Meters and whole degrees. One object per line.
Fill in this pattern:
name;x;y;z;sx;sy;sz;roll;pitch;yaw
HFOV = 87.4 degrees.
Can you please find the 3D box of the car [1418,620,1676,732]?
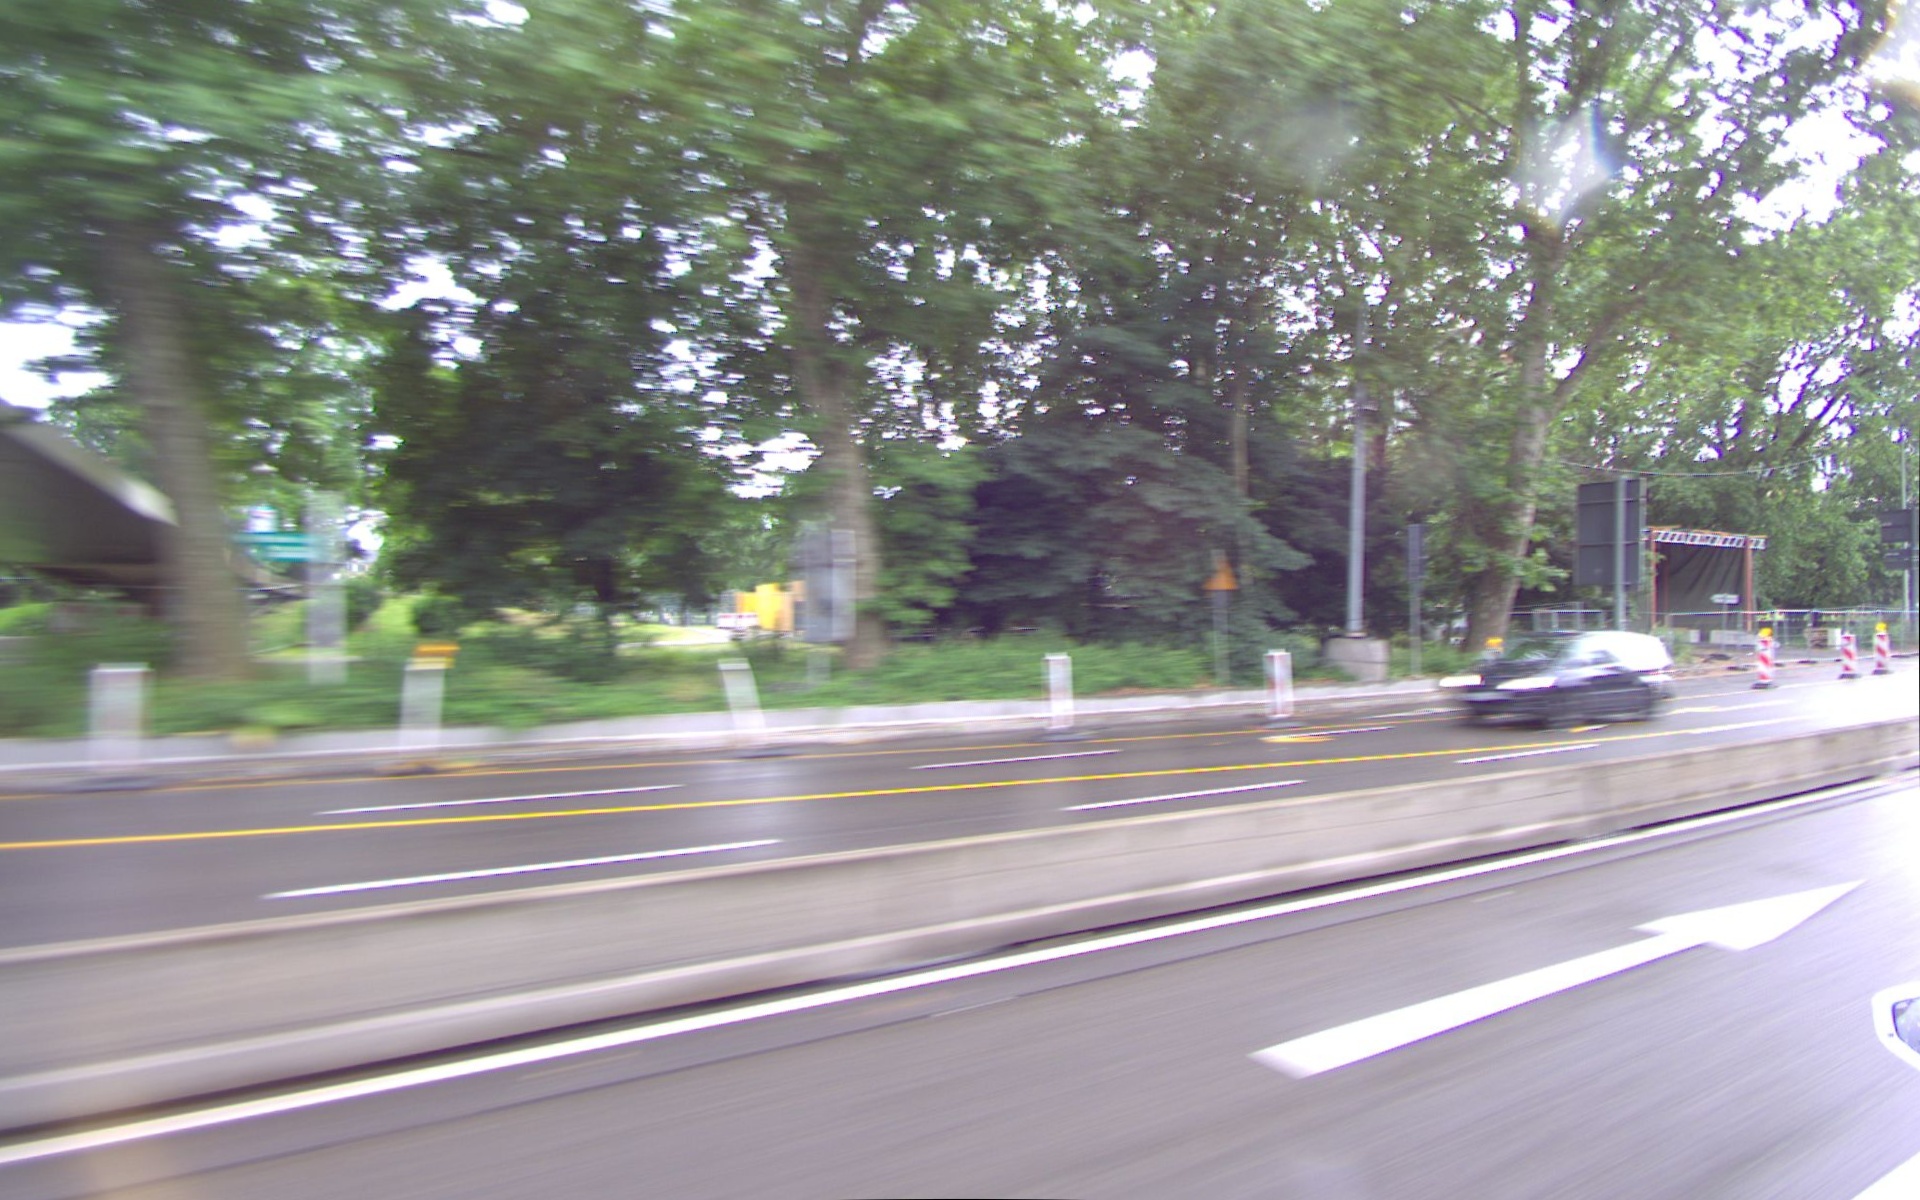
car;10.259;1.229;17.521;4.266;1.675;2.022;0;-1;-29
